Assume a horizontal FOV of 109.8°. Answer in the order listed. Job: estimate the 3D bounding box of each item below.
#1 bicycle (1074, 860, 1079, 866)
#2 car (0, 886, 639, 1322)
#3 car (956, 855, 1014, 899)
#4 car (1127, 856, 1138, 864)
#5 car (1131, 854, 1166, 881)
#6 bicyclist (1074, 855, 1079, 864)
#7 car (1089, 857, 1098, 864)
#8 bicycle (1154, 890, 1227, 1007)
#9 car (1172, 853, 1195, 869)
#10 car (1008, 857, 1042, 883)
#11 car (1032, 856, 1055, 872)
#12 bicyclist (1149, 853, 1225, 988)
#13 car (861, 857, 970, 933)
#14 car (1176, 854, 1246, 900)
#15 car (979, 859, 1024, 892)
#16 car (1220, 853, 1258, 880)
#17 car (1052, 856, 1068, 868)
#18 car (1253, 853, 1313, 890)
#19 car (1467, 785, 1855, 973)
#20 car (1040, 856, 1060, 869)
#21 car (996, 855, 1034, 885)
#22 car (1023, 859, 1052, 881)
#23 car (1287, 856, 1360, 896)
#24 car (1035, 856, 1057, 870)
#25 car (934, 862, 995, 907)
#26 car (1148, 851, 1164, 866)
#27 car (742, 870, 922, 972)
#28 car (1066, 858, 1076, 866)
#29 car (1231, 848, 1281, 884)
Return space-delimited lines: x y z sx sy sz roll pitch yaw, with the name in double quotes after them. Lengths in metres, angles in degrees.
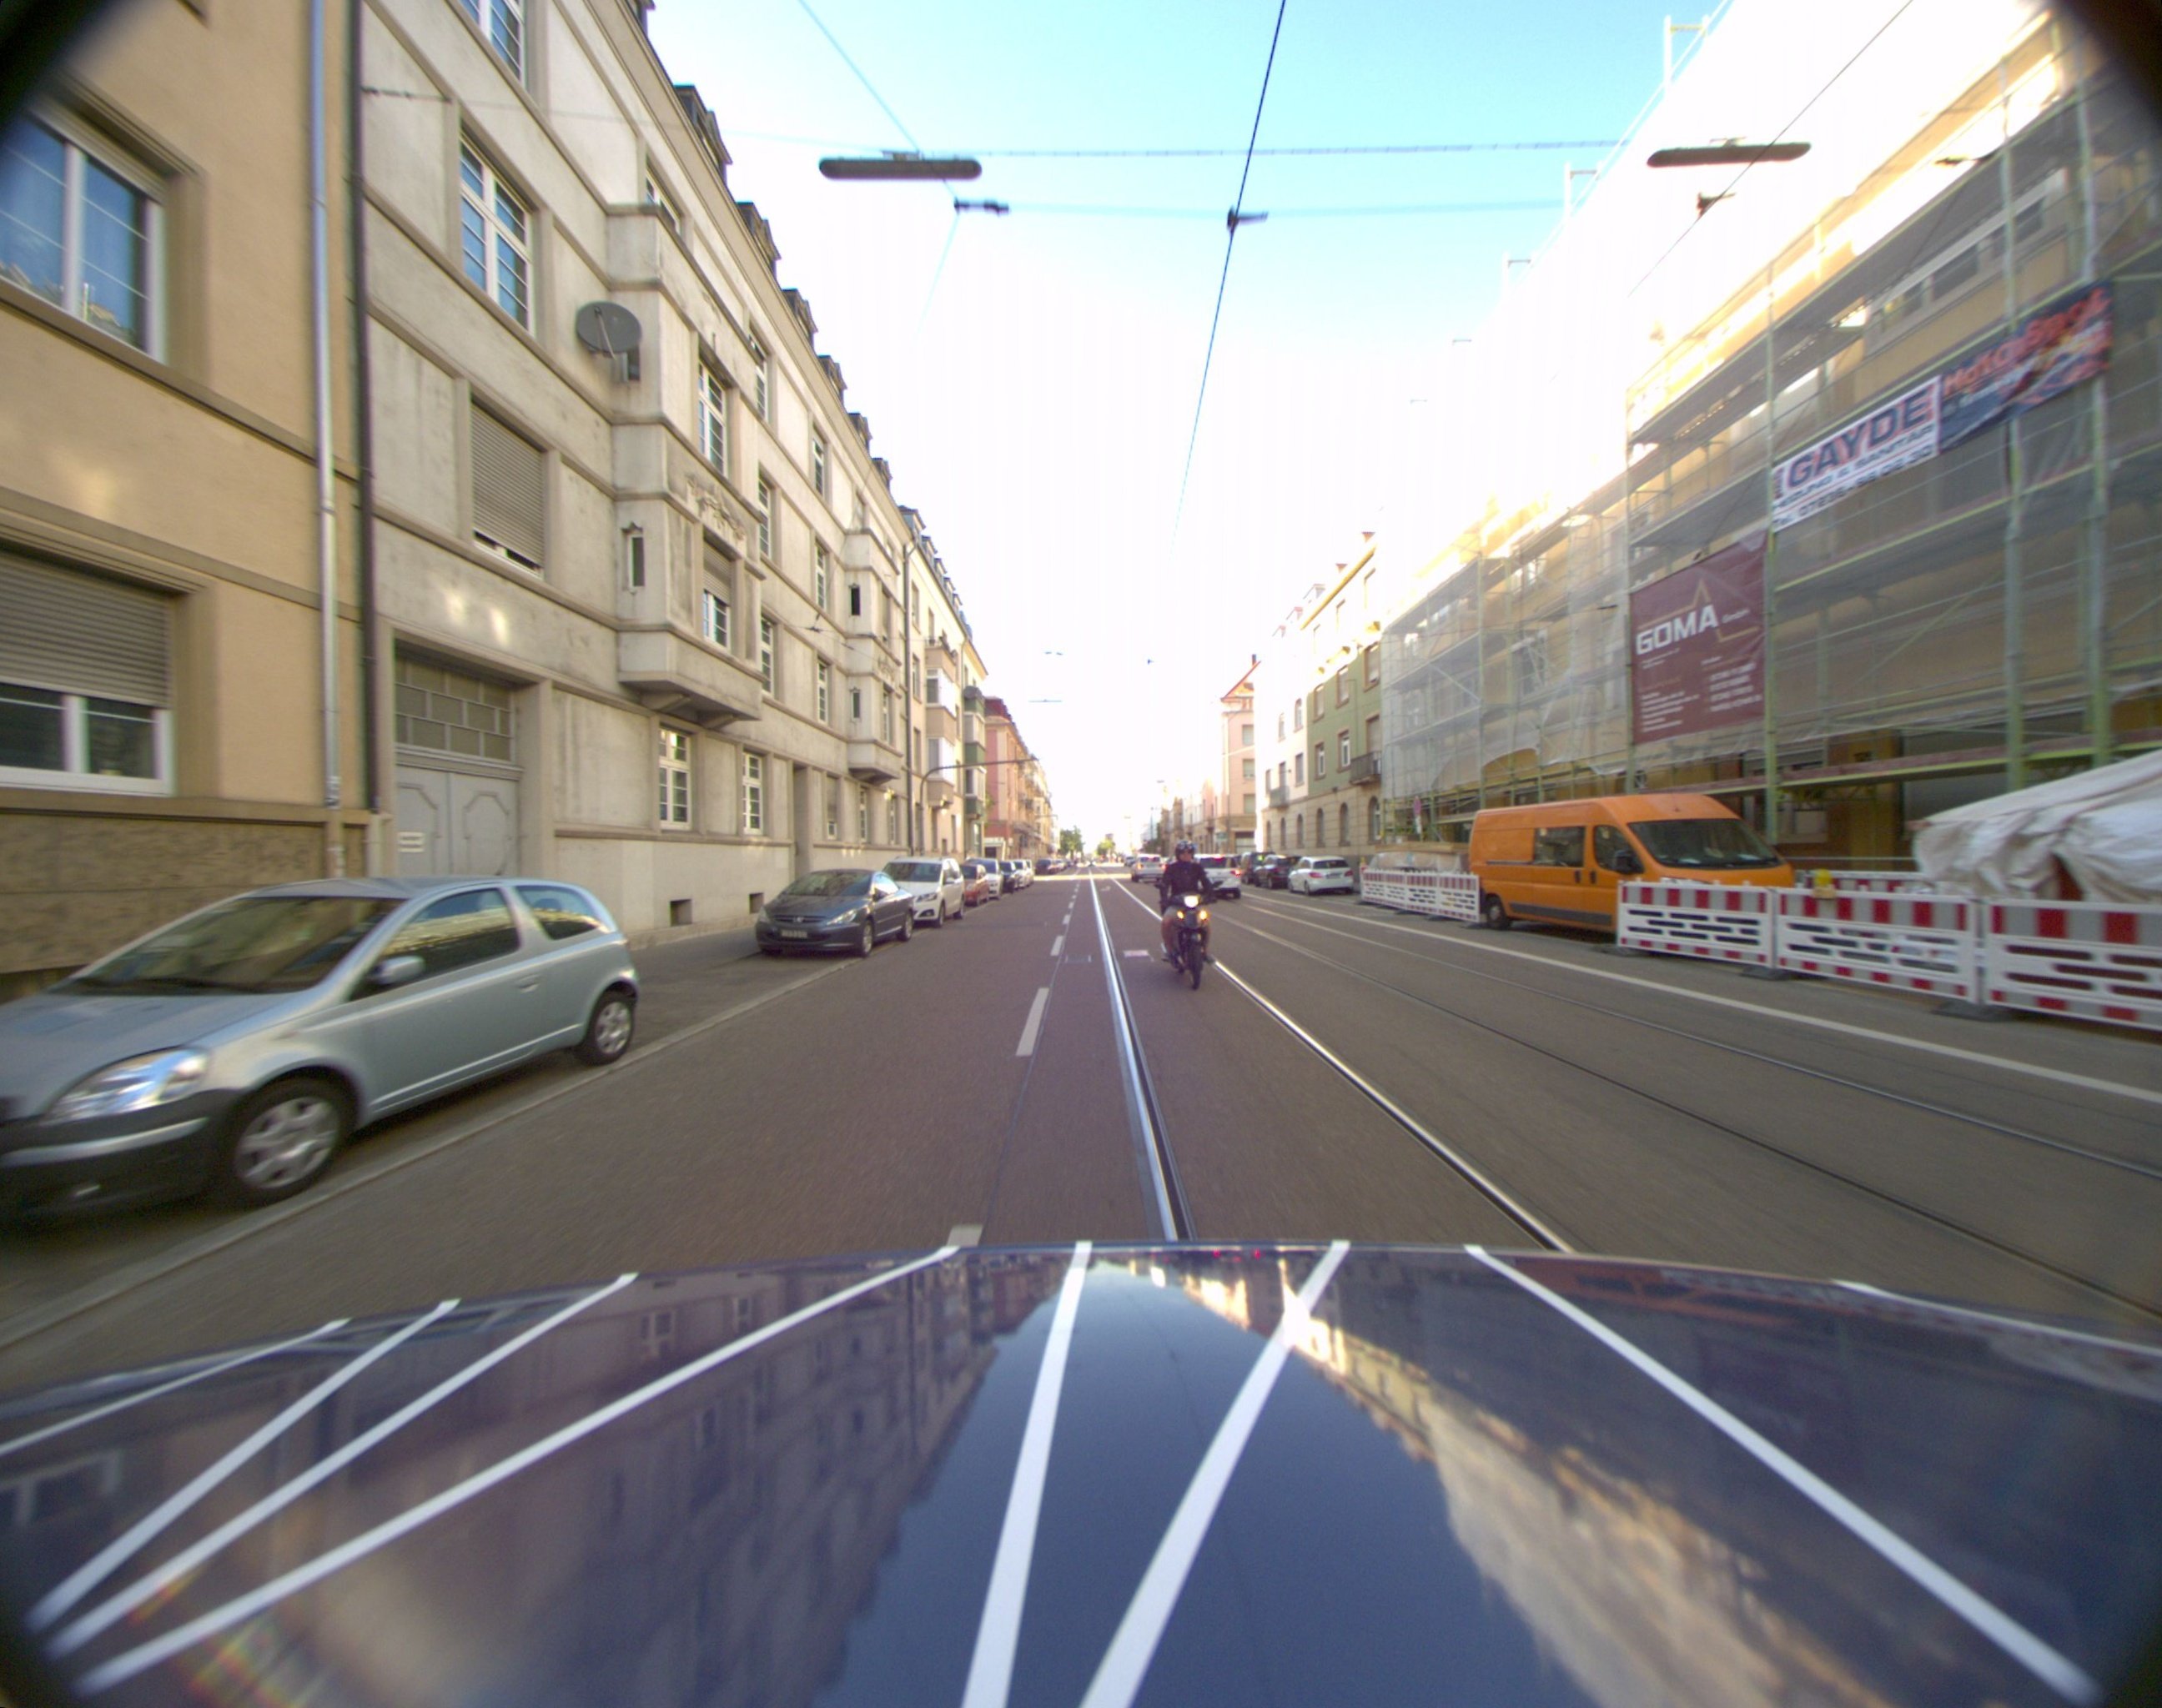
-0.661 1.386 119.463 0.744 0.850 1.886 -1 0 0 "bicycle"
-4.508 1.000 4.561 1.612 1.454 3.480 0 0 2 "car"
-3.946 0.902 31.917 1.702 1.688 4.189 0 0 3 "car"
10.195 1.173 151.483 1.798 1.494 3.769 -3 0 0 "car"
4.136 0.781 46.961 1.771 1.598 4.293 0 0 0 "car"
-0.649 0.883 119.573 0.744 1.481 0.816 -1 1 0 "bicyclist"
2.891 1.408 170.988 1.998 1.586 4.000 -1 0 1 "car"
1.279 1.067 9.208 0.740 1.170 1.975 -1 0 5 "bicycle"
10.523 0.685 78.313 1.798 1.494 3.769 -3 0 0 "car"
-3.571 1.029 48.895 1.702 1.581 3.355 1 0 3 "car"
-3.565 0.945 73.330 1.998 1.412 3.727 0 0 1 "car"
1.261 0.768 9.190 0.843 1.545 0.850 -1 1 4 "bicyclist"
-4.047 0.934 19.310 1.713 1.683 4.590 0 0 0 "car"
4.857 0.813 28.924 1.825 1.559 4.200 -2 0 -1 "car"
-3.883 1.029 37.586 1.703 1.496 3.863 -1 0 2 "car"
9.870 0.756 47.743 1.798 1.601 3.770 -1 0 4 "car"
-2.807 1.064 103.220 1.998 1.630 4.000 0 0 1 "car"
9.696 0.798 36.780 1.702 1.569 4.223 -3 0 0 "car"
9.087 0.327 12.922 2.125 2.454 6.000 0 0 1 "car"
-3.344 0.911 82.683 1.998 1.455 4.000 0 0 1 "car"
-3.681 0.844 42.702 1.703 1.581 3.961 -1 0 1 "car"
-3.142 1.115 55.202 1.702 1.465 3.780 1 0 3 "car"
9.716 0.823 30.792 1.751 1.502 4.000 0 0 1 "car"
-3.597 0.913 77.632 1.998 1.412 3.727 0 0 1 "car"
-4.176 1.070 27.571 1.570 1.475 3.365 1 0 2 "car"
10.717 0.620 108.831 1.998 2.002 4.000 0 0 0 "car"
-4.231 1.063 13.672 1.703 1.444 4.206 0 0 2 "car"
-2.180 1.613 160.565 1.998 1.674 4.000 -1 0 1 "car"
9.785 0.638 42.740 1.798 1.835 3.769 -3 0 0 "car"
